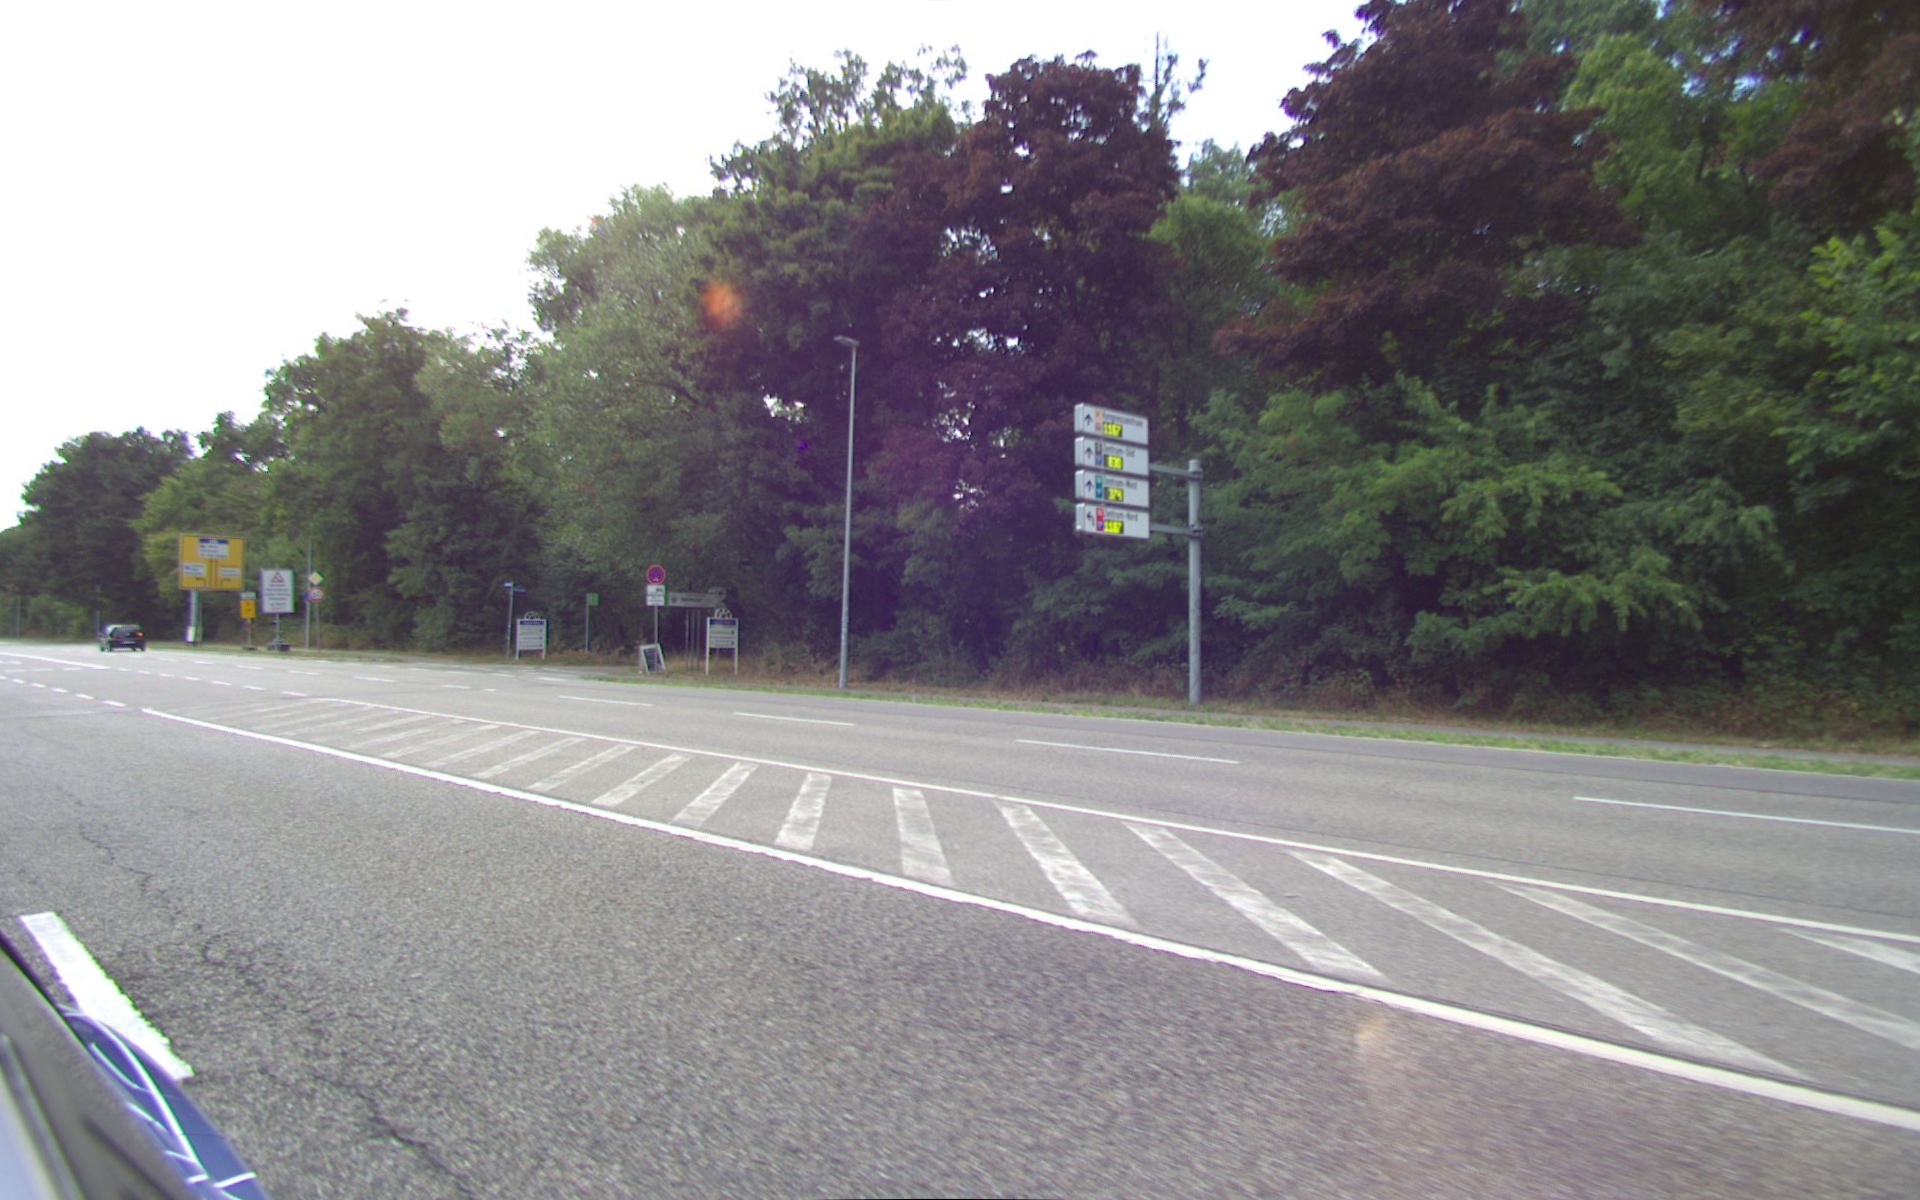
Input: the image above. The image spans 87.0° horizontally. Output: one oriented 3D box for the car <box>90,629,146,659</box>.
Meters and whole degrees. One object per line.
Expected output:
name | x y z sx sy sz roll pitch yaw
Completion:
car | -46.746 2.426 56.159 3.998 1.486 1.723 -1 0 41
